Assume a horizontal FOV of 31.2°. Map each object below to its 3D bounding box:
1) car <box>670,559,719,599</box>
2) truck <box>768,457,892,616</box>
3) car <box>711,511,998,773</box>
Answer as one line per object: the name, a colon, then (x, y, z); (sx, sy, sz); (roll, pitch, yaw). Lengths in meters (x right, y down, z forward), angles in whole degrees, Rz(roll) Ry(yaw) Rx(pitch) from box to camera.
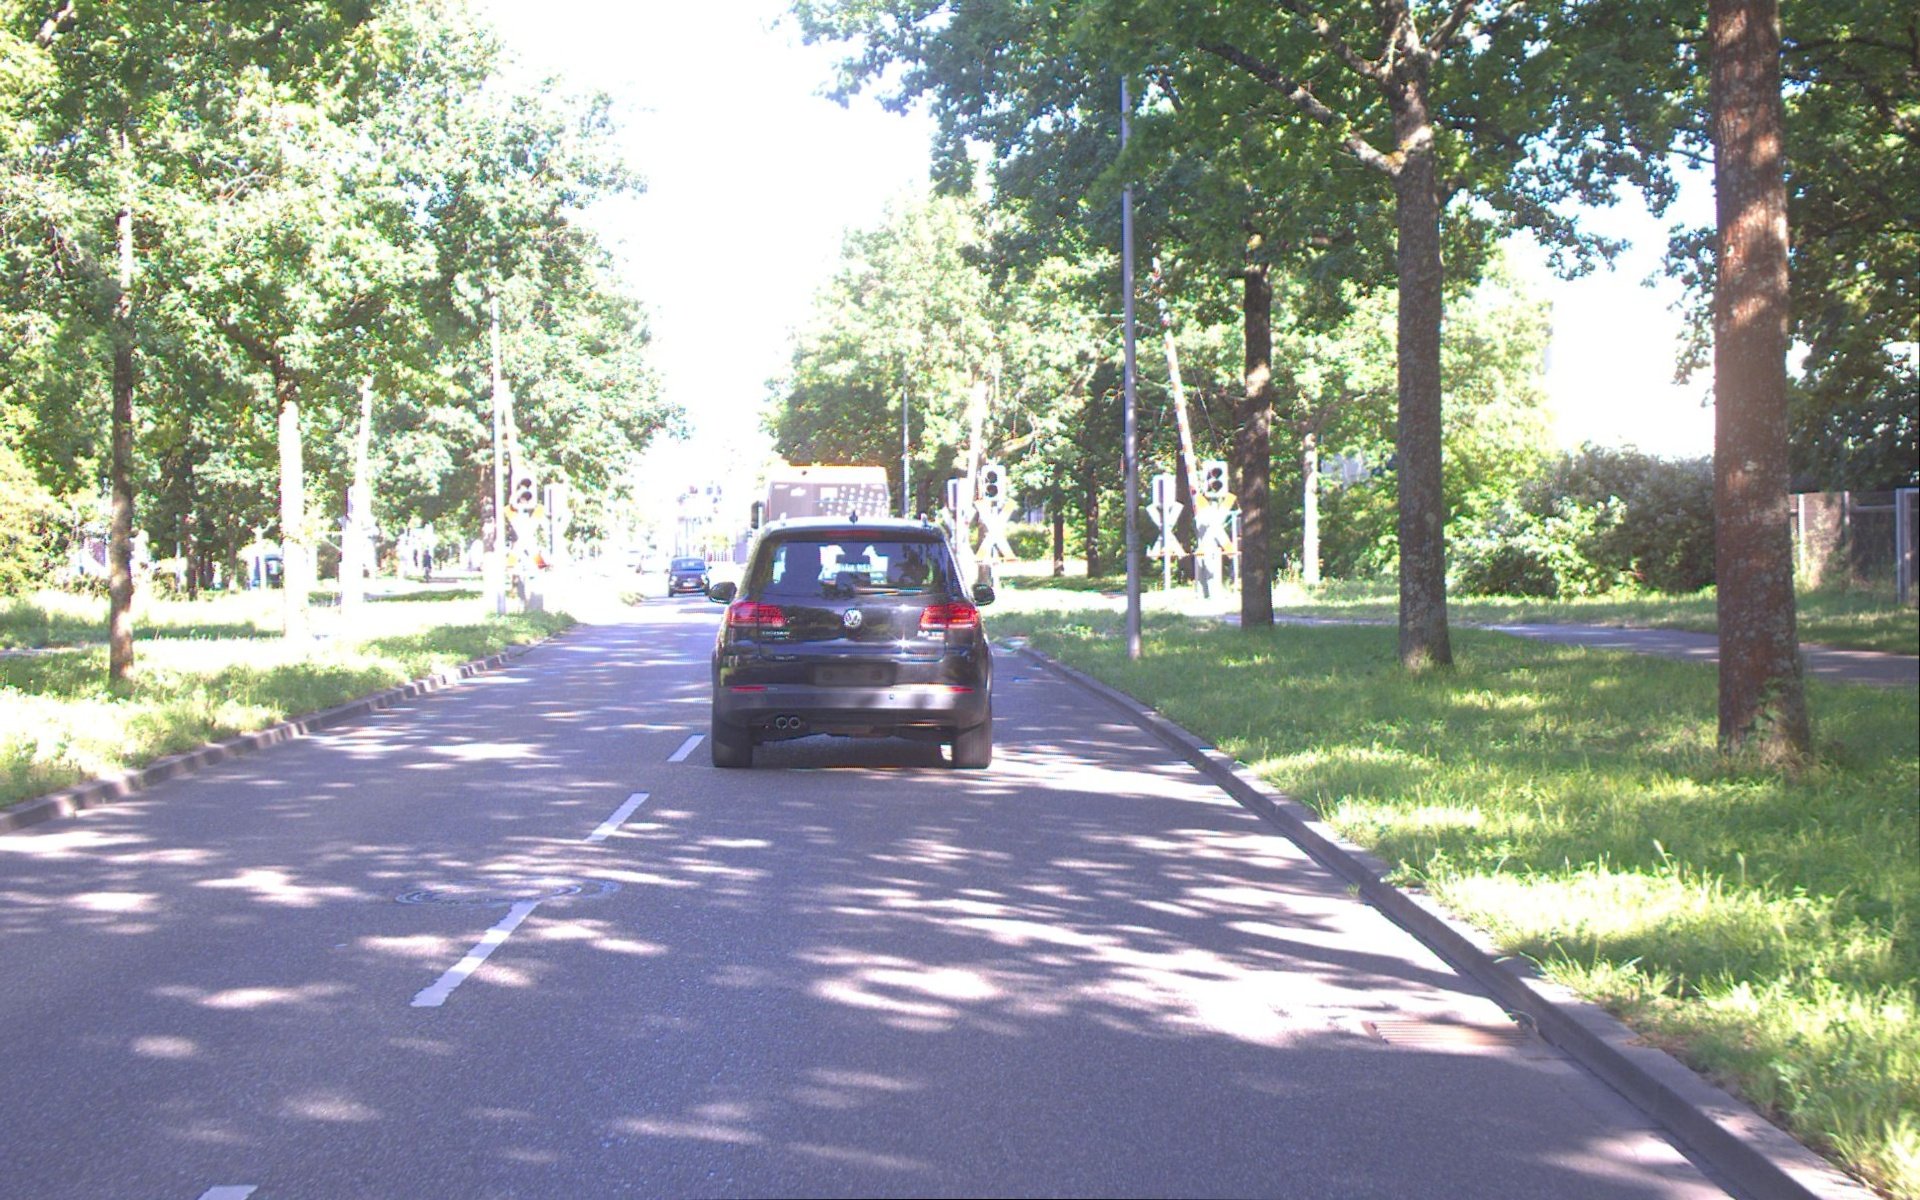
car: (-10.249, -0.814, 132.894); (1.565, 1.499, 4.000); (1, 1, 0)
truck: (-2.813, -1.365, 74.759); (2.512, 3.232, 8.153); (-1, 1, -2)
car: (-0.726, 0.236, 23.631); (1.782, 1.628, 4.000); (1, 1, -2)
